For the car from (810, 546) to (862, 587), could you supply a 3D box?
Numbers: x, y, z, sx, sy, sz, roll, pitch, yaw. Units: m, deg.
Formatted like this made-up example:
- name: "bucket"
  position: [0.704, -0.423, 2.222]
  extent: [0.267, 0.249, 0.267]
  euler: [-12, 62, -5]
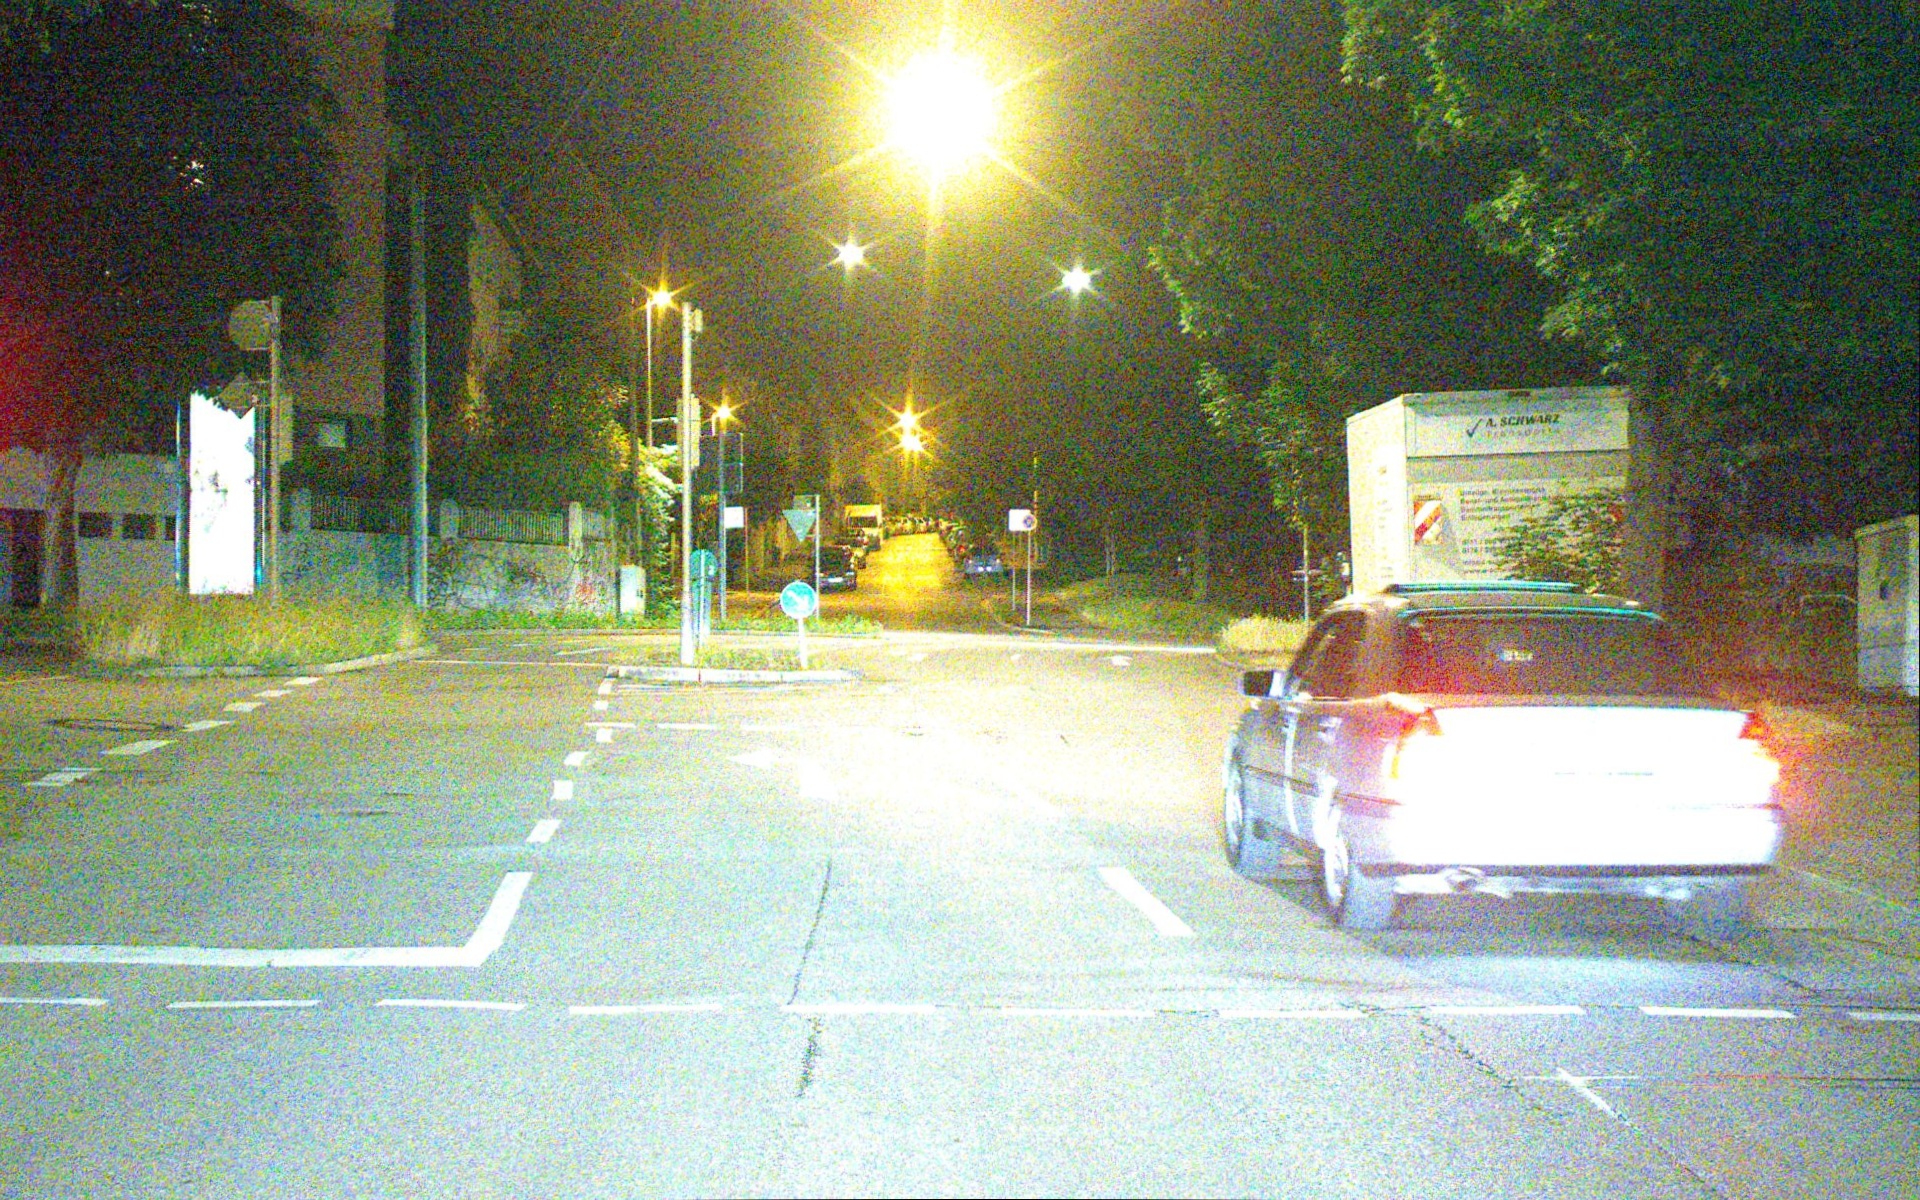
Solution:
- name: "car"
  position: [-4.847, -1.297, 134.347]
  extent: [1.908, 1.552, 3.904]
  euler: [1, 1, -1]

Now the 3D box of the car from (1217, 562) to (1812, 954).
- name: "car"
  position: [2.274, 0.585, 15.152]
  extent: [1.776, 1.481, 4.000]
  euler: [1, 1, -3]

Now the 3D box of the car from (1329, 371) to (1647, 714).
- name: "car"
  position: [5.120, -0.558, 34.228]
  extent: [2.297, 3.082, 5.840]
  euler: [-1, 1, 1]
